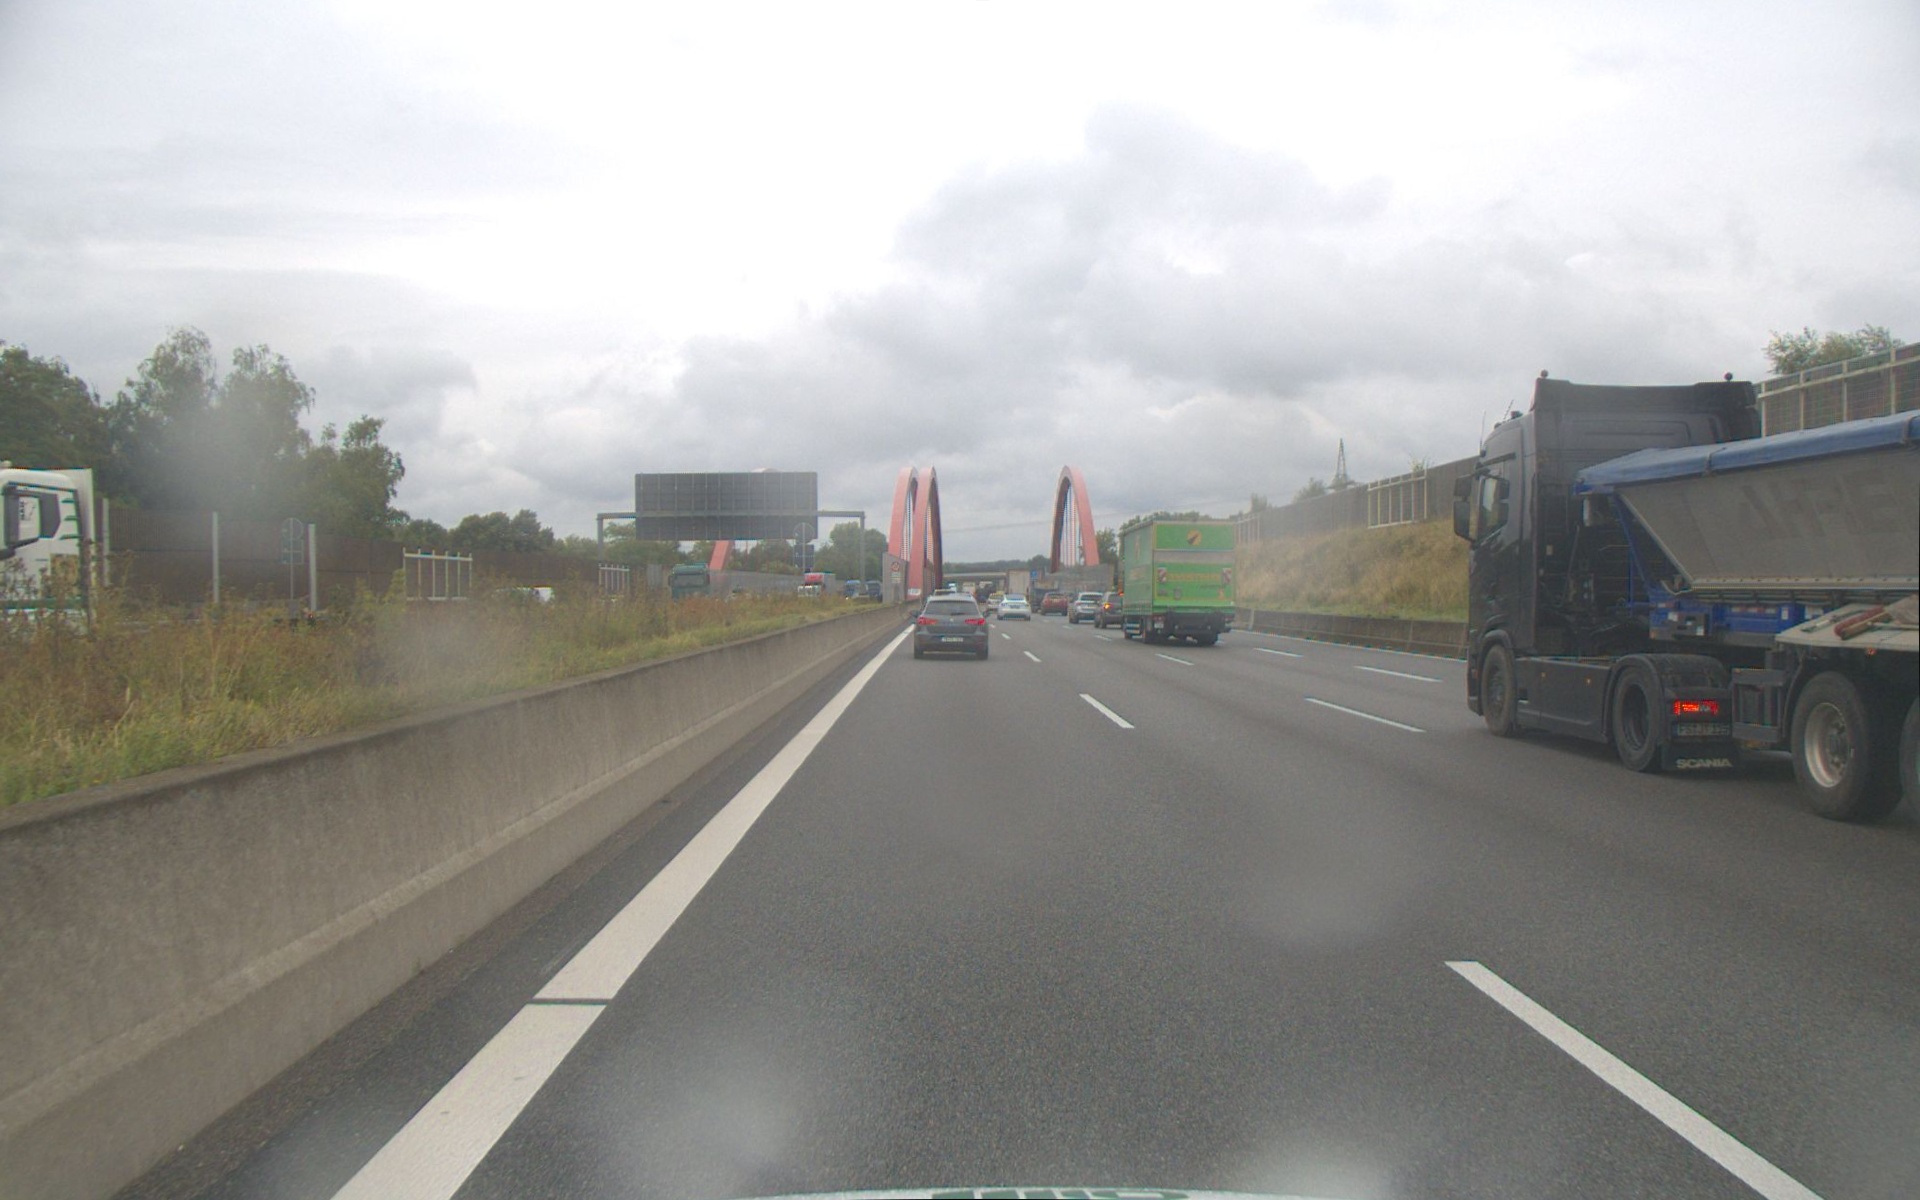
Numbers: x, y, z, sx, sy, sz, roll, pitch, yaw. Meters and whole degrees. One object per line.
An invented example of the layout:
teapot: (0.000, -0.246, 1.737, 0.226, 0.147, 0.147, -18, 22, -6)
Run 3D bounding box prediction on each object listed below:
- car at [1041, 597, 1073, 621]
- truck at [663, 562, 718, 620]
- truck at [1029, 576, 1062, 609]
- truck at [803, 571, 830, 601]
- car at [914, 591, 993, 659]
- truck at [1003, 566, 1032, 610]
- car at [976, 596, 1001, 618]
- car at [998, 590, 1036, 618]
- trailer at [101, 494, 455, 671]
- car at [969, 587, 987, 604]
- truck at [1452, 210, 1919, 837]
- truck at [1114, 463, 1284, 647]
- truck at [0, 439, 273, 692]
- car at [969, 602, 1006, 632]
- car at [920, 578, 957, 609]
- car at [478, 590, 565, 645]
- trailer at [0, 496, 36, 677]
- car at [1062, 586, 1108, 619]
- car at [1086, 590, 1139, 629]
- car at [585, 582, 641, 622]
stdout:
car: (6.832, 0.619, 116.999, 1.917, 1.676, 3.999, 1, 0, -1)
truck: (-19.227, -0.639, 118.422, 2.804, 3.905, 7.521, 1, 0, -1)
truck: (6.811, -0.625, 131.873, 2.313, 2.550, 6.144, 1, 0, 0)
truck: (-18.482, -1.770, 213.013, 2.923, 3.819, 5.916, 0, 0, -1)
car: (-0.126, 0.534, 38.512, 1.727, 1.478, 4.000, 1, 0, 0)
truck: (6.635, -1.369, 190.804, 2.982, 4.817, 7.679, 1, 0, 0)
car: (2.112, 0.484, 123.513, 1.668, 1.570, 3.837, 0, 0, -2)
car: (3.192, 0.213, 93.673, 1.953, 1.512, 3.999, 0, 0, -1)
trailer: (-13.391, -0.319, 33.865, 2.895, 3.011, 10.567, 1, 0, 0)
car: (2.067, -0.510, 187.951, 1.953, 1.847, 4.000, 1, 0, 0)
truck: (7.479, -0.486, 13.813, 2.755, 4.019, 12.711, 1, 0, -1)
truck: (7.573, -1.345, 54.452, 3.916, 5.358, 11.219, 1, 0, 0)
truck: (-13.287, -0.464, 24.148, 2.895, 3.120, 8.726, 1, 0, -1)
car: (1.337, 0.820, 81.630, 1.745, 1.431, 3.626, 0, 0, -1)
car: (-1.175, -0.382, 90.399, 1.953, 1.612, 3.999, -1, 1, -1)
car: (-17.124, 0.636, 64.909, 1.868, 2.049, 5.953, 0, 0, 0)
trailer: (-17.326, -0.203, 23.516, 2.558, 3.041, 10.794, 0, 0, -2)
car: (6.550, 0.098, 87.382, 1.953, 1.647, 5.327, 1, 0, -1)
car: (6.900, 0.413, 75.182, 1.873, 1.699, 4.102, 0, 0, -3)
car: (-18.270, 0.089, 87.220, 1.953, 2.049, 4.651, 1, 0, 0)
